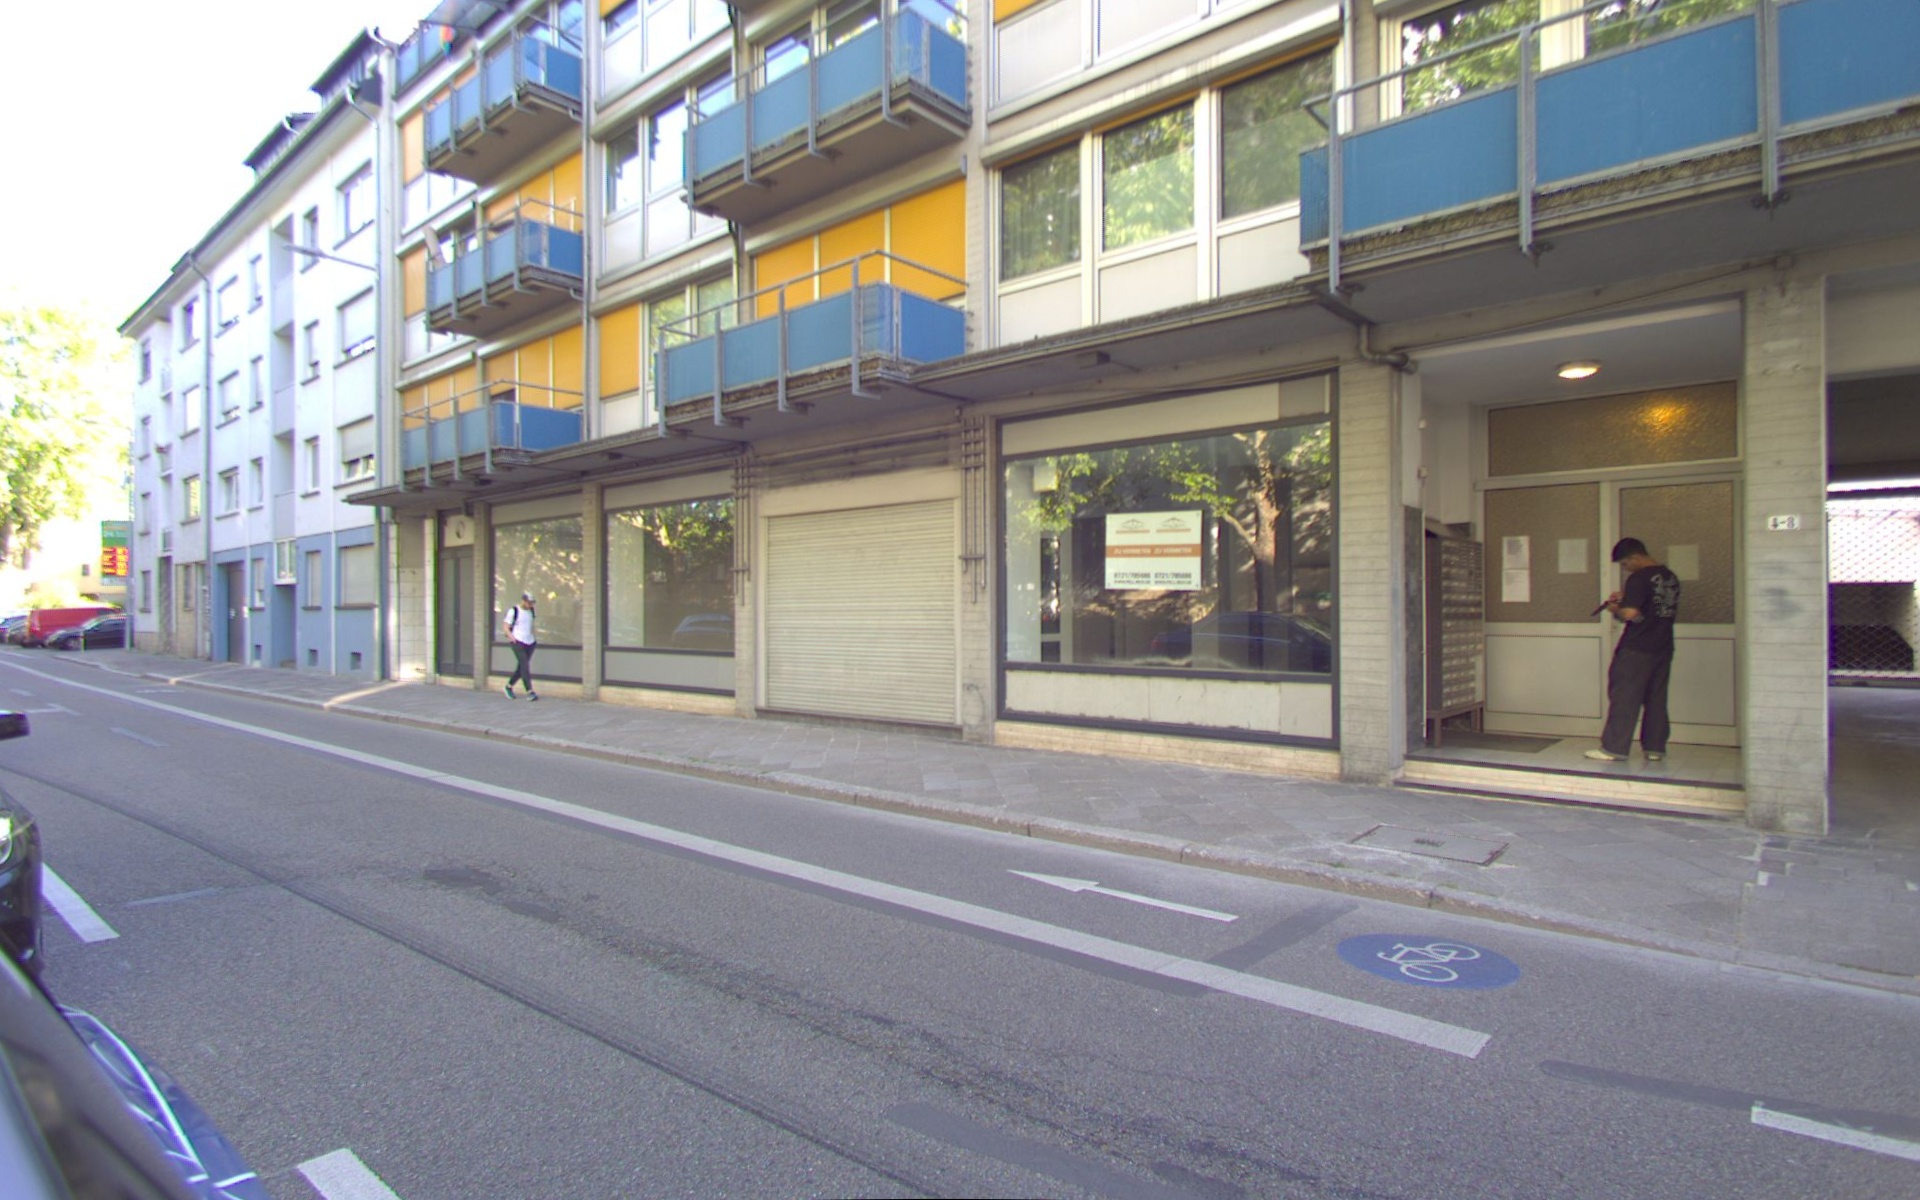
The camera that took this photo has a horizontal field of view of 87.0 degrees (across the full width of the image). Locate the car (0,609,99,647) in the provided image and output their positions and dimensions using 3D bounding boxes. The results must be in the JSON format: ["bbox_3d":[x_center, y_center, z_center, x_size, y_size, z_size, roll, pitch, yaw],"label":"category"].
[{"bbox_3d":[-55.399,1.656,61.143,1.999,2.210,4.927,-1,-1,41],"label":"car"}]

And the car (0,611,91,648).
[{"bbox_3d":[-57.393,1.805,62.852,1.999,2.210,4.927,-1,-1,41],"label":"car"}]

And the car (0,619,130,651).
[{"bbox_3d":[-45.718,1.738,51.694,1.999,1.506,4.927,-1,-1,41],"label":"car"}]

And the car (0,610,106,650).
[{"bbox_3d":[-53.312,1.721,59.192,1.999,2.210,4.927,-1,-1,41],"label":"car"}]

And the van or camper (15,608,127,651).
[{"bbox_3d":[-43.886,1.418,50.002,1.999,2.029,3.946,-1,-1,40],"label":"van or camper"}]

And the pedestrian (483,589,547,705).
[{"bbox_3d":[-7.201,0.743,16.379,0.879,1.813,0.593,-1,0,42],"label":"pedestrian"}]

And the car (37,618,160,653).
[{"bbox_3d":[-39.749,1.621,46.775,1.999,1.506,4.093,-1,-1,41],"label":"car"}]

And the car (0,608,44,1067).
[{"bbox_3d":[-5.032,0.792,3.918,3.861,1.467,1.718,-1,-1,40],"label":"car"}]

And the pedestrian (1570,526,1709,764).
[{"bbox_3d":[5.156,0.328,7.698,0.650,1.726,0.550,0,-1,-16],"label":"pedestrian"}]

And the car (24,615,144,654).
[{"bbox_3d":[-41.630,1.609,48.160,1.999,1.703,4.093,-1,-1,41],"label":"car"}]
